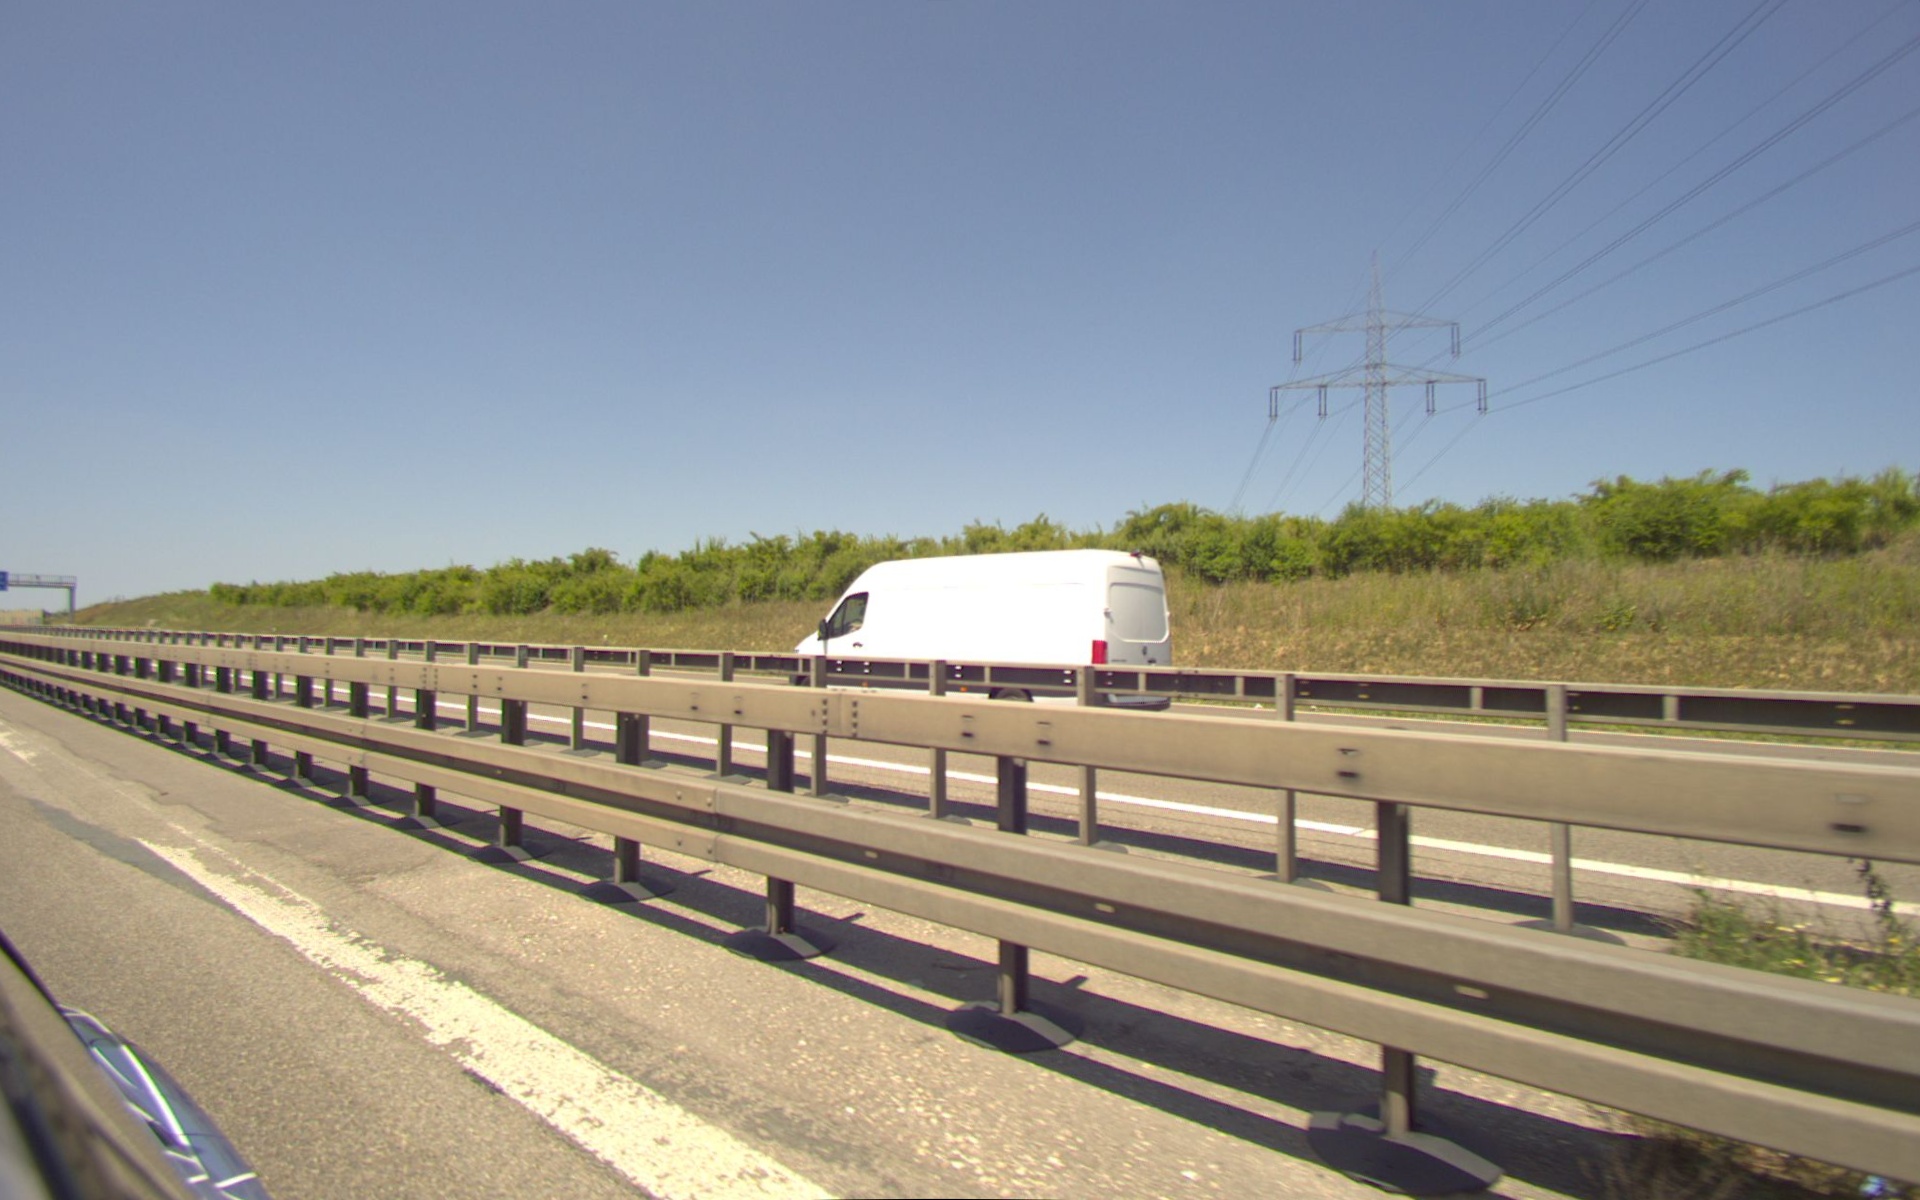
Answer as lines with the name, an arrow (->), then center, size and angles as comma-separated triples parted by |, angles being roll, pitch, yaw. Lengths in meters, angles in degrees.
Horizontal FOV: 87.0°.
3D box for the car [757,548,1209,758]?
car -> -0.030, 0.704, 15.926 | 7.597, 2.625, 2.011 | -1, -1, 41
